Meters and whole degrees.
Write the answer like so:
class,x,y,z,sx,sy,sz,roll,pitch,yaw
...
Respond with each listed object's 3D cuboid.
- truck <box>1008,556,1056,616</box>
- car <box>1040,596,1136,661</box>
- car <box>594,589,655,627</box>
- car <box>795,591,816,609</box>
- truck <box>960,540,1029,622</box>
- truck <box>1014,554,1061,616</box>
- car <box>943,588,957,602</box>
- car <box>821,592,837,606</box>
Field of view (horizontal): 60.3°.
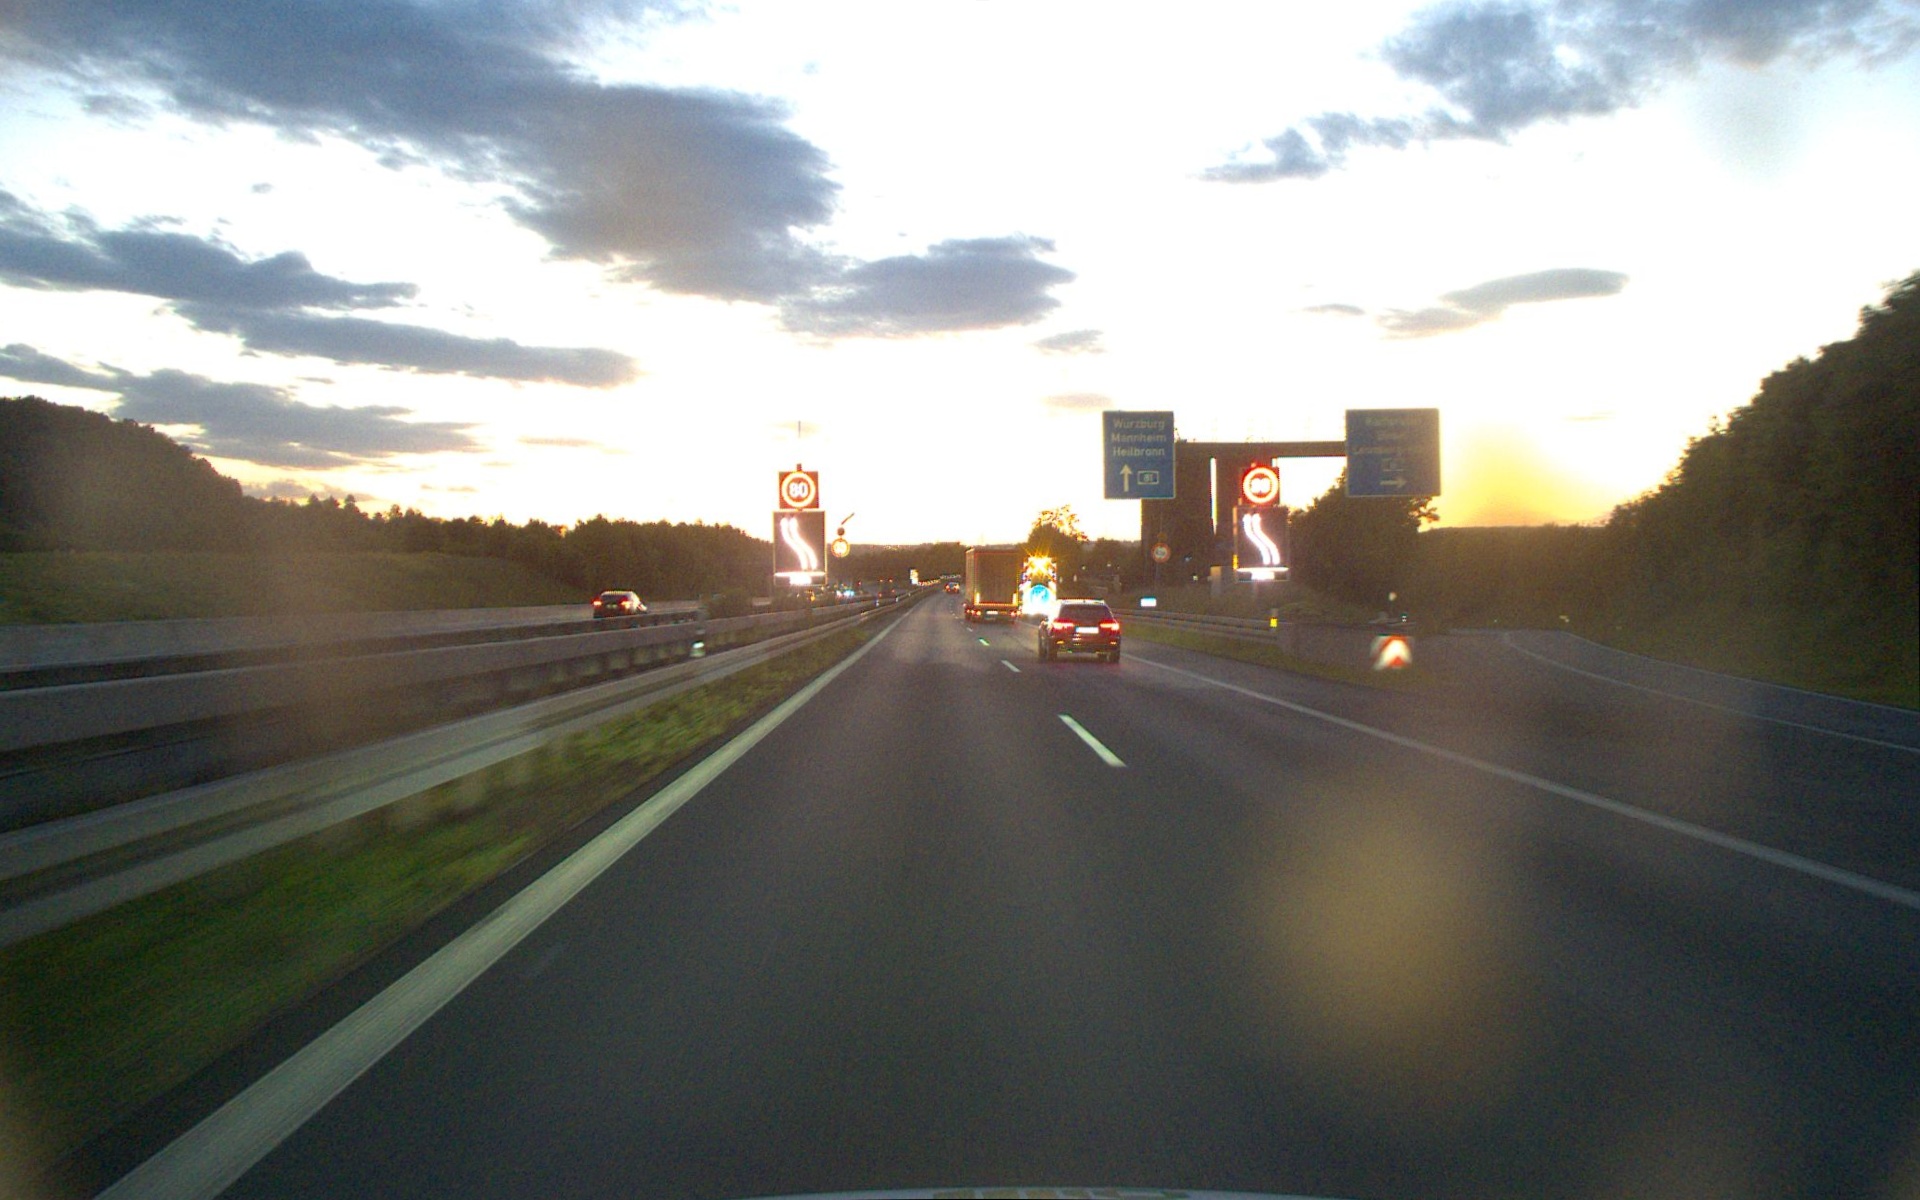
class,x,y,z,sx,sy,sz,roll,pitch,yaw
truck,5.169,-0.994,120.324,2.854,4.183,9.147,0,0,-1
car,3.074,0.661,40.556,1.876,1.467,3.998,-1,0,-2
car,-14.799,0.358,73.107,1.834,1.588,4.519,-1,0,-1
car,-14.776,-0.008,158.731,1.678,1.634,3.721,-1,0,-1
truck,1.885,-1.033,94.812,3.439,4.376,9.888,-1,0,-1
truck,5.215,-0.997,112.592,2.731,4.130,6.410,0,0,-1
car,-1.483,-0.731,237.718,1.953,2.049,3.999,-1,0,-1
car,-15.209,-0.128,192.658,1.604,1.573,3.394,-1,0,-1
